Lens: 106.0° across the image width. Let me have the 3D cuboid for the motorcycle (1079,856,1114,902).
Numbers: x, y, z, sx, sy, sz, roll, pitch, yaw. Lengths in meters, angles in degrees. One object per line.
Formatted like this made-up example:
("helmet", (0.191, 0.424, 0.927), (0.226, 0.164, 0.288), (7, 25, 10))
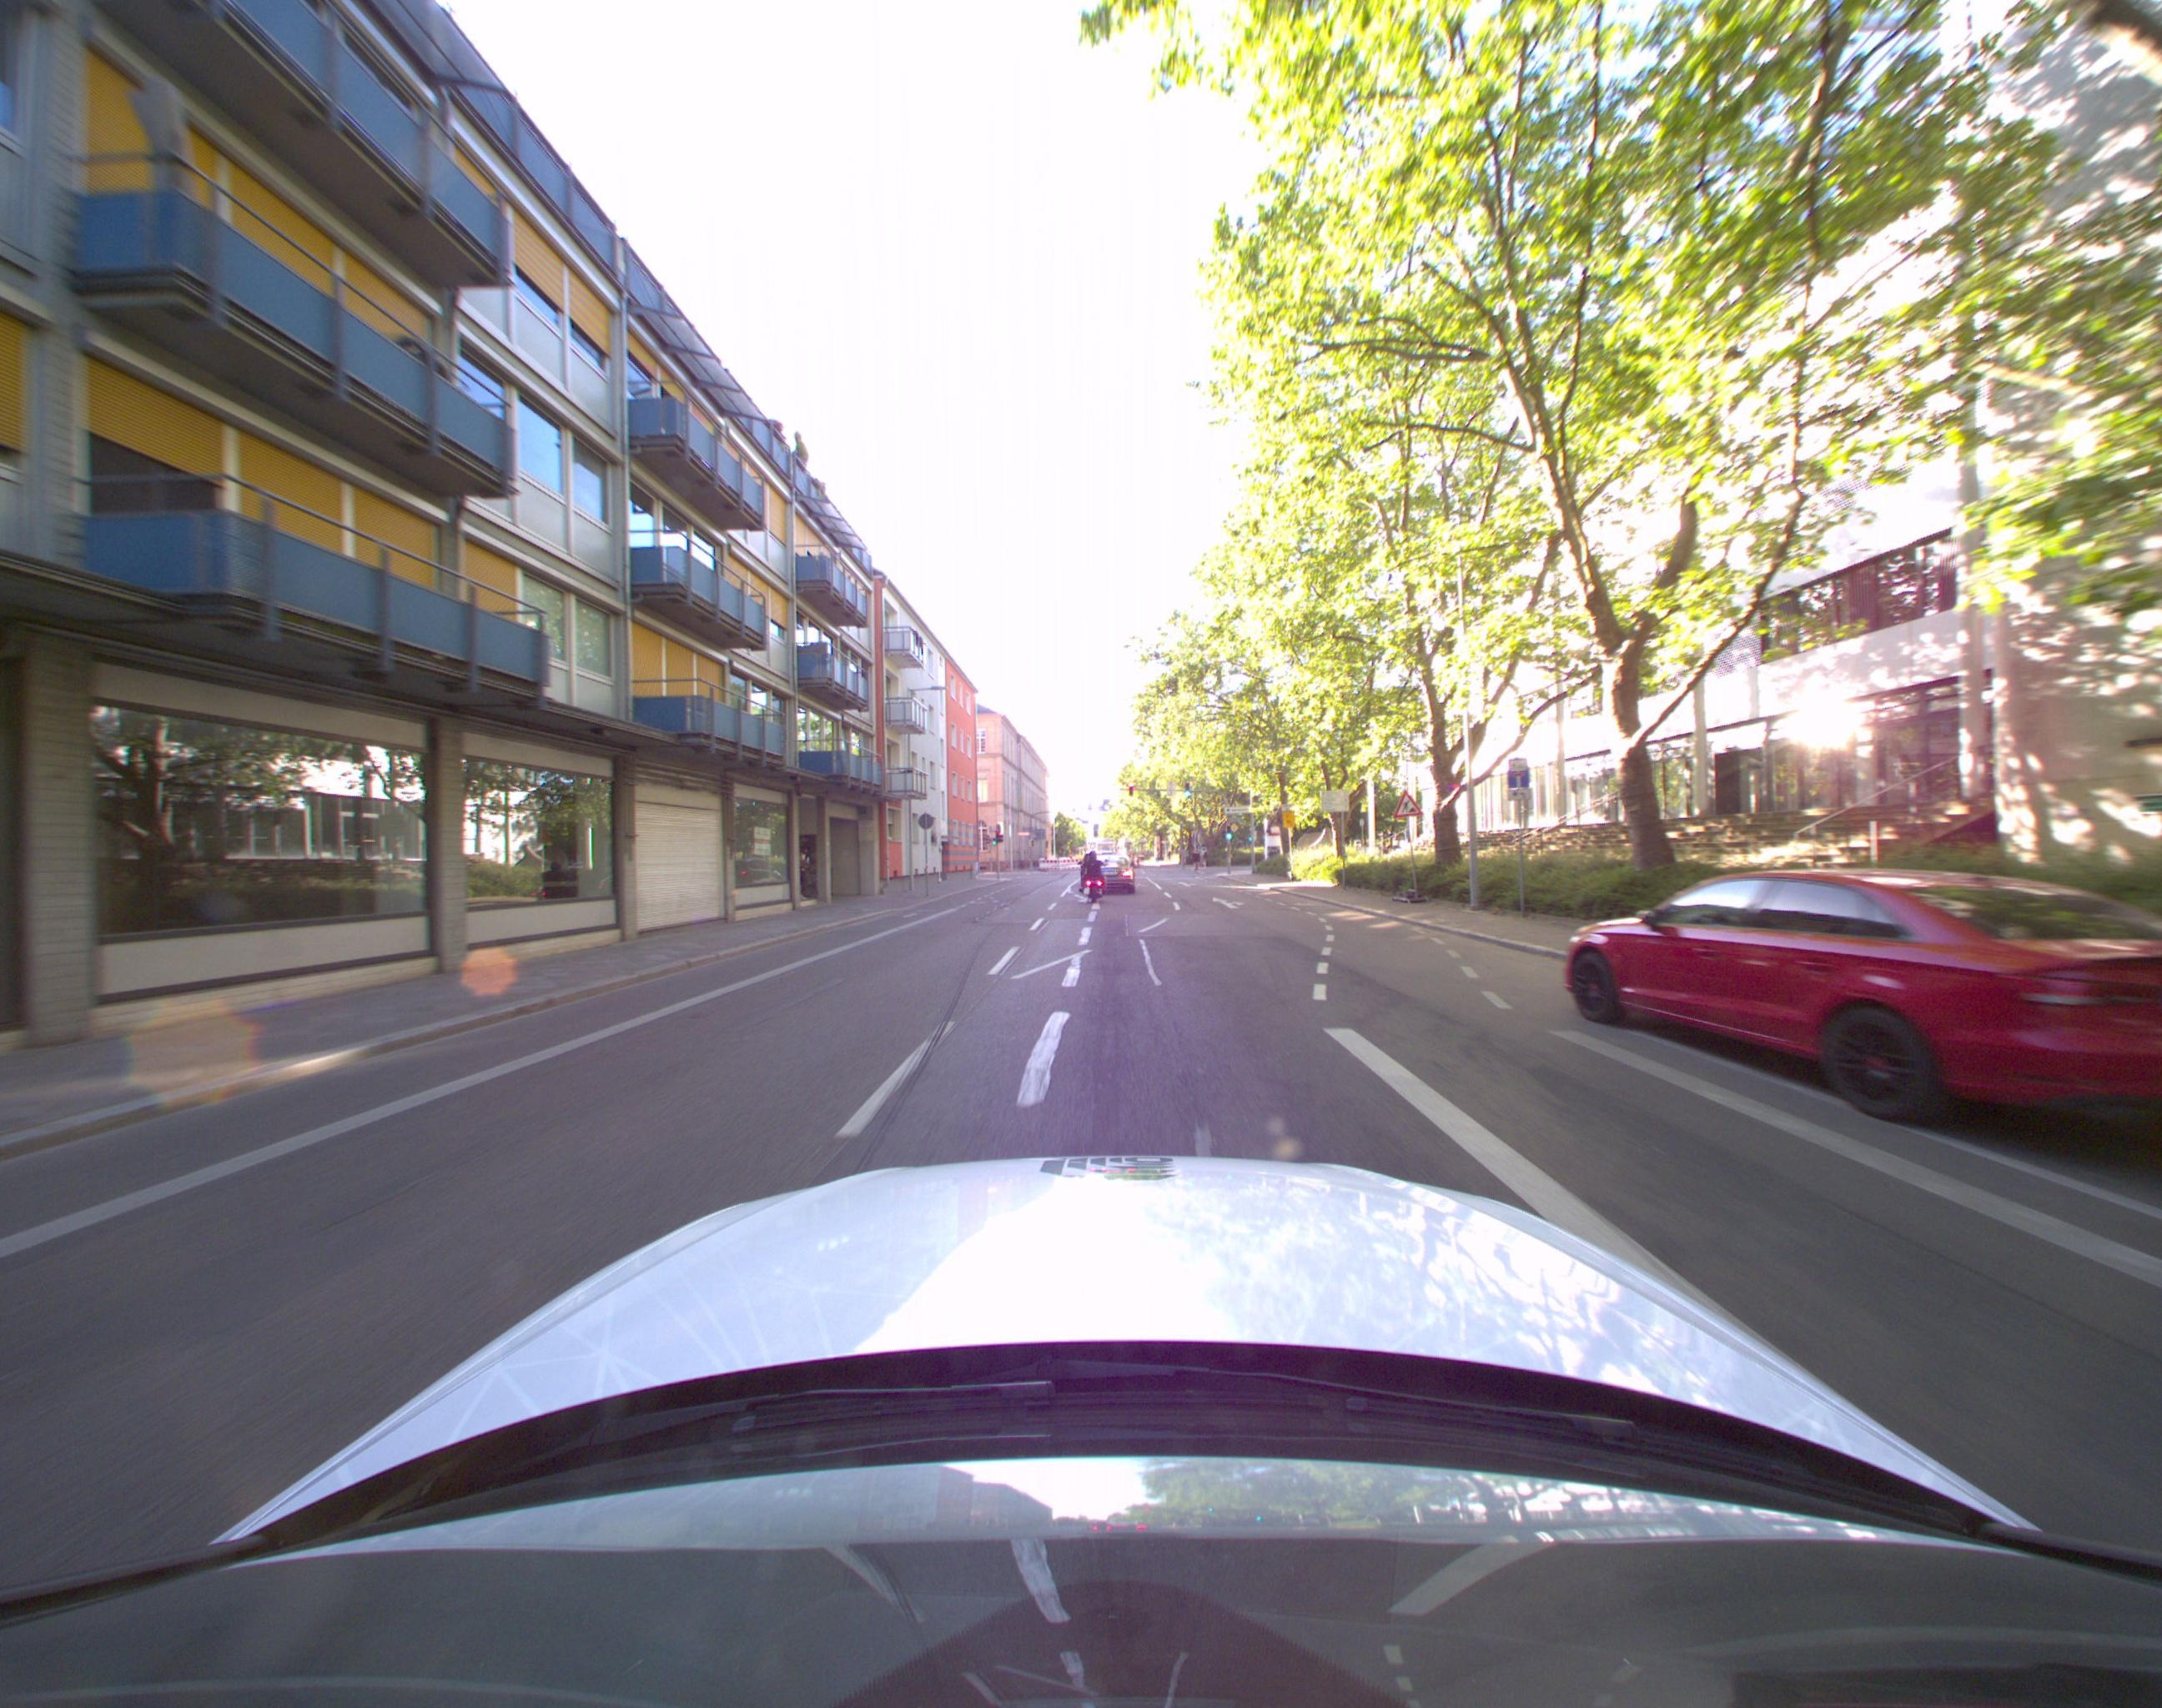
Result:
("motorcycle", (0.491, 0.735, 25.347), (1.008, 1.306, 2.673), (-1, 0, 2))

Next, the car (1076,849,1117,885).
("car", (0.693, 0.596, 38.501), (1.627, 1.650, 3.845), (0, 0, -4))

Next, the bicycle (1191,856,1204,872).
("bicycle", (8.003, 0.670, 56.089), (0.653, 1.070, 1.927), (0, 0, 2))

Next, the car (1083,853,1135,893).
("car", (1.061, 0.684, 30.913), (1.821, 1.420, 3.816), (-1, 0, 1))

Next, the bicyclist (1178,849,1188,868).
("bicyclist", (8.185, 0.368, 65.268), (0.653, 1.530, 0.906), (0, -1, 1))

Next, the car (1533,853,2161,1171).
("car", (5.381, 0.733, 5.970), (1.687, 1.449, 4.435), (1, 0, 0))

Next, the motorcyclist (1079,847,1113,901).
("motorcyclist", (0.483, 0.600, 25.404), (1.008, 1.602, 1.406), (-1, 0, 1))

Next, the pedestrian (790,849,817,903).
("pedestrian", (-8.304, 0.639, 24.376), (0.511, 1.579, 0.756), (-1, 0, 1))

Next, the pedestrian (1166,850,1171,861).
("pedestrian", (12.206, 0.191, 113.805), (0.590, 1.578, 0.527), (0, -1, 2))

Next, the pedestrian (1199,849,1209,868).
("pedestrian", (11.343, 0.414, 75.058), (0.618, 1.774, 0.576), (0, -1, 43))

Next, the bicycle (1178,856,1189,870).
("bicycle", (8.185, 0.692, 65.238), (0.653, 1.111, 2.186), (0, 0, 2))

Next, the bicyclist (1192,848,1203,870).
("bicyclist", (8.007, 0.361, 56.133), (0.653, 1.530, 0.852), (0, -1, 1))
